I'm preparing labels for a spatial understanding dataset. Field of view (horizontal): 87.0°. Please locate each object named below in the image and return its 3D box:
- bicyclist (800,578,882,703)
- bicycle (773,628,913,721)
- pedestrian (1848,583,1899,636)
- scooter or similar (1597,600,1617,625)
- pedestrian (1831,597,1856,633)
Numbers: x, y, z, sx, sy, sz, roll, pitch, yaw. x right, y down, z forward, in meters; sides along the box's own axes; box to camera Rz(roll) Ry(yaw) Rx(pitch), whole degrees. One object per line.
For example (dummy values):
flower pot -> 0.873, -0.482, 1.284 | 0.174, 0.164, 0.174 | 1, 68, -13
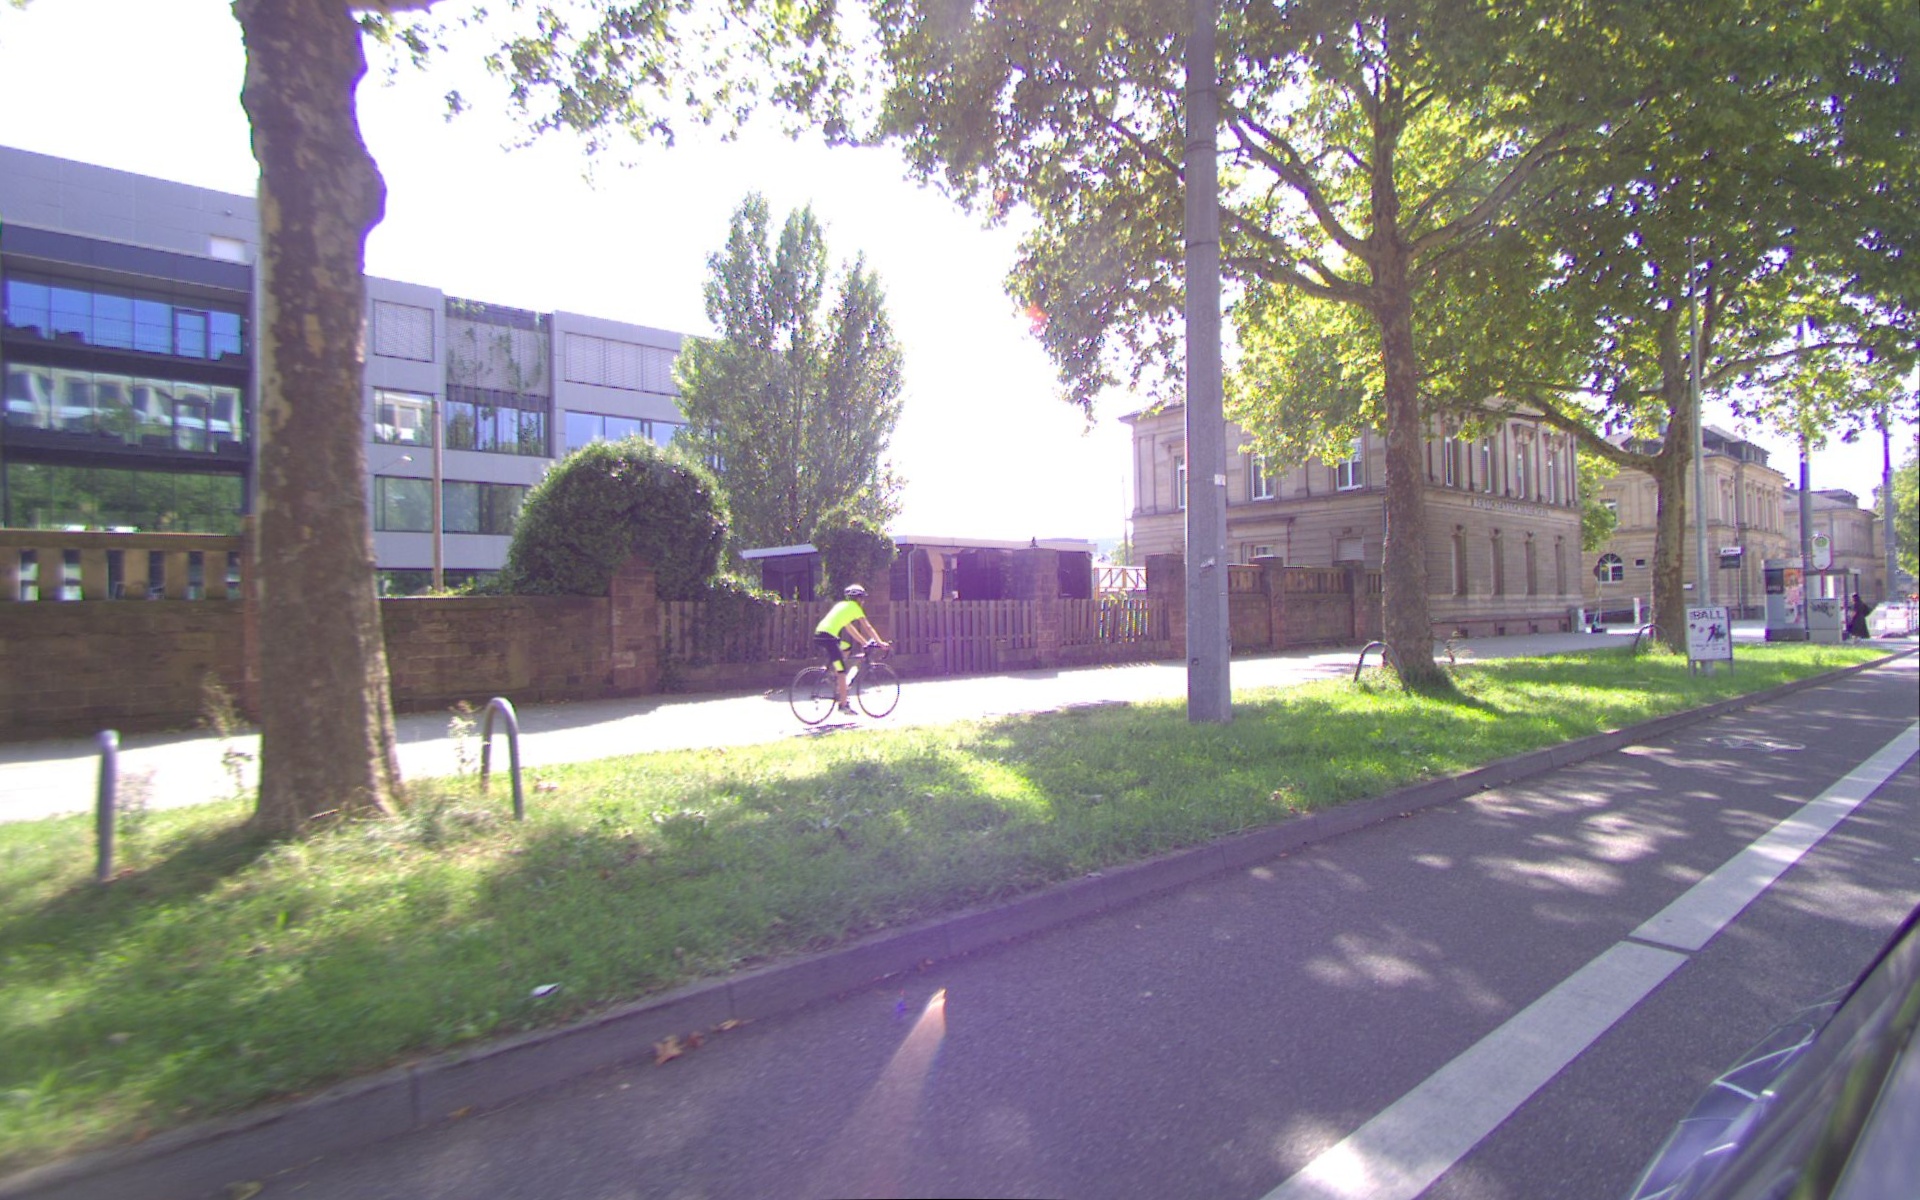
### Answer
bicyclist -> -1.453, 0.474, 12.380 | 0.827, 1.472, 0.549 | 0, -1, -41
bicycle -> -1.411, 0.873, 12.406 | 1.683, 1.020, 0.549 | 0, -1, -41
pedestrian -> 29.255, 0.306, 32.425 | 0.871, 1.647, 0.819 | -1, -1, 13
scooter or similar -> 31.097, 0.576, 48.640 | 1.203, 1.181, 0.410 | 0, -1, -37
pedestrian -> 30.929, 0.520, 35.419 | 0.565, 1.233, 0.609 | 0, 0, -43
